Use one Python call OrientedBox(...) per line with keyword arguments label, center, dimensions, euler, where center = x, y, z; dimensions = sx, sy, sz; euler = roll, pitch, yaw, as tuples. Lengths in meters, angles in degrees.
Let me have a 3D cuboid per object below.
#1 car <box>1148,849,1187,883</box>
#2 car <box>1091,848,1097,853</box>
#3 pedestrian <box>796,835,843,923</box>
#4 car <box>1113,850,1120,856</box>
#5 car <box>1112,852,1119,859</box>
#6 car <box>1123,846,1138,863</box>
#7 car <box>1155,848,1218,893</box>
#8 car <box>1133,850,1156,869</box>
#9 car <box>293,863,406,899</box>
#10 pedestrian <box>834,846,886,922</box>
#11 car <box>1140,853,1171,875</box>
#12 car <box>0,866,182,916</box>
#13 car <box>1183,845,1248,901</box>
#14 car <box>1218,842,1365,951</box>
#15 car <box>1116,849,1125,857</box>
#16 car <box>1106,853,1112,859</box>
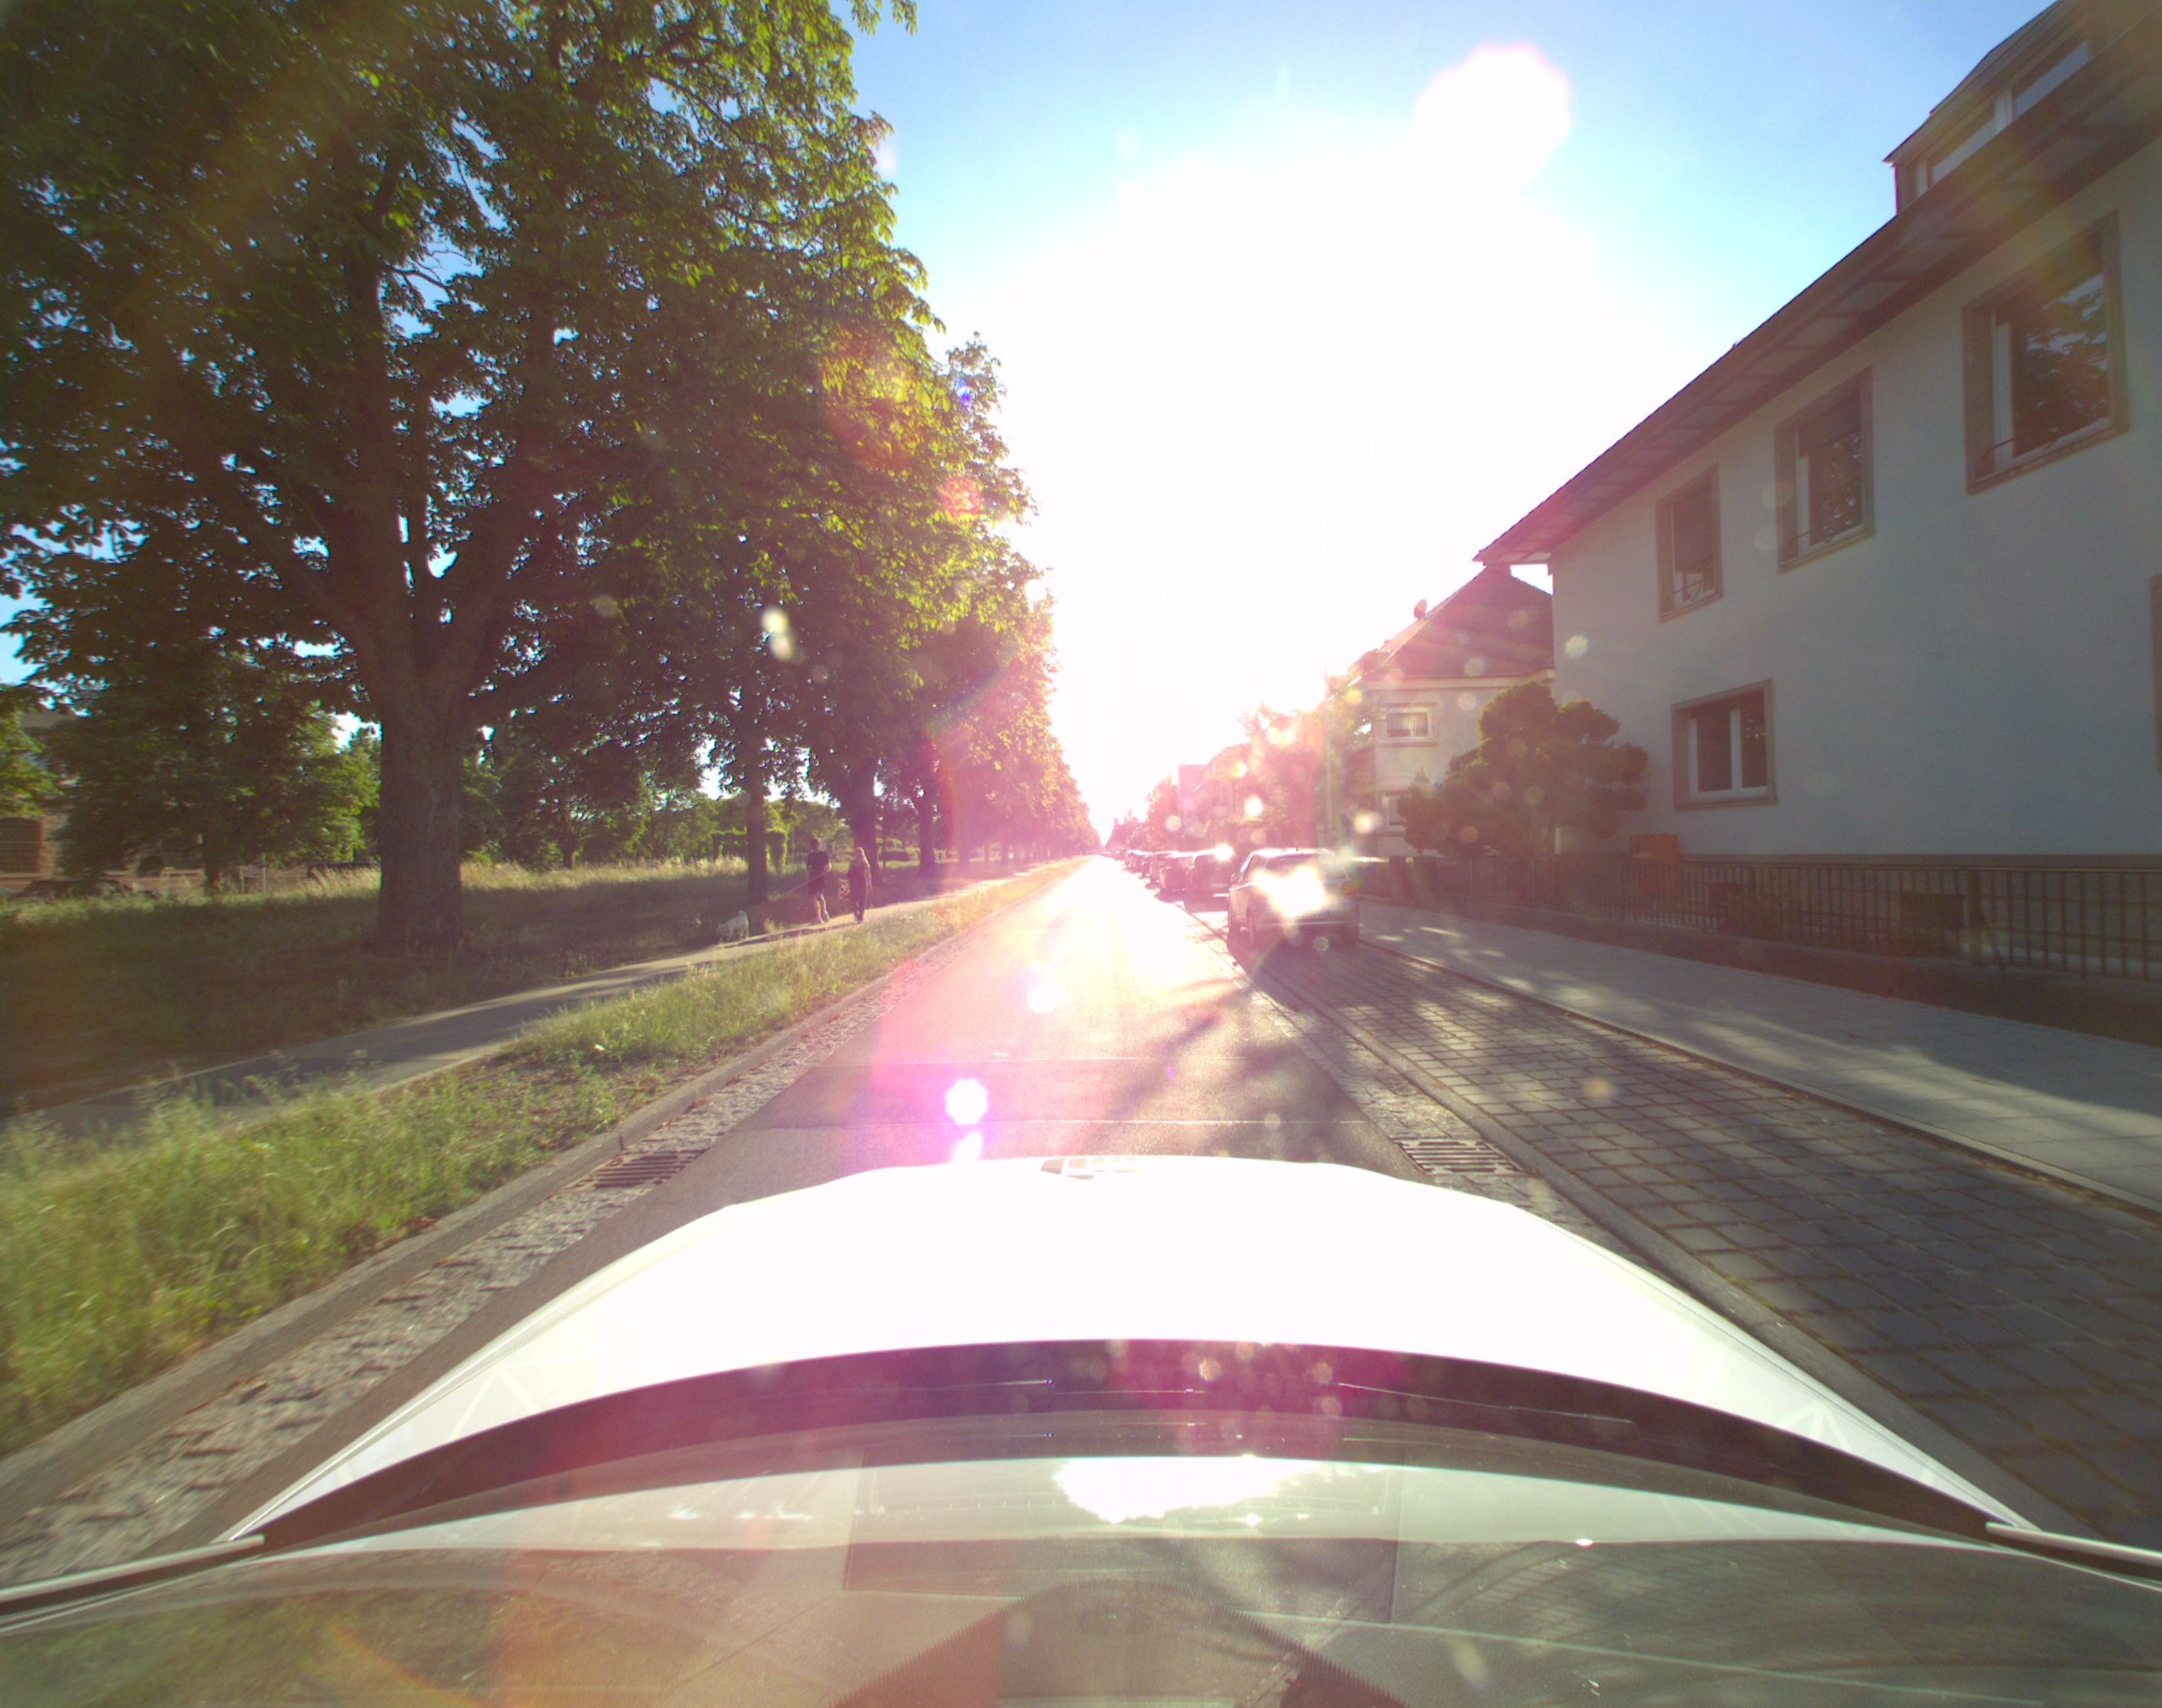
OrientedBox(label="car", center=(4.136, 0.567, 39.468), dimensions=(1.586, 1.510, 3.593), euler=(-2, 0, 2))
OrientedBox(label="car", center=(3.992, -1.195, 253.734), dimensions=(1.646, 1.541, 3.268), euler=(0, 0, 2))
OrientedBox(label="pedestrian", center=(-5.621, 0.518, 17.545), dimensions=(0.621, 1.831, 0.887), euler=(-1, 0, 5))
OrientedBox(label="car", center=(8.265, -0.252, 187.929), dimensions=(1.645, 1.541, 3.269), euler=(-1, 0, 3))
OrientedBox(label="car", center=(7.794, 0.236, 182.516), dimensions=(1.645, 1.541, 3.269), euler=(-1, 0, 3))
OrientedBox(label="car", center=(4.948, 0.056, 81.867), dimensions=(1.492, 1.567, 3.269), euler=(-2, 0, 3))
OrientedBox(label="car", center=(3.823, 0.596, 30.100), dimensions=(1.731, 1.449, 4.197), euler=(-3, 0, 0))
OrientedBox(label="car", center=(4.906, 0.437, 63.118), dimensions=(1.645, 1.396, 3.269), euler=(-2, 0, 3))
OrientedBox(label="car", center=(-36.135, 1.279, 40.399), dimensions=(1.686, 1.597, 4.222), euler=(-1, 0, 1))
OrientedBox(label="pedestrian", center=(-4.829, 0.632, 17.873), dimensions=(0.779, 1.614, 0.953), euler=(-1, 0, 5))
OrientedBox(label="car", center=(4.479, 0.583, 49.345), dimensions=(1.686, 1.248, 3.500), euler=(-2, 0, 3))
OrientedBox(label="car", center=(-36.579, 1.299, 30.213), dimensions=(1.686, 1.597, 4.222), euler=(-1, 0, 1))
OrientedBox(label="car", center=(4.033, 0.541, 24.867), dimensions=(1.650, 1.494, 3.721), euler=(-3, 0, 5))
OrientedBox(label="car", center=(3.399, 0.607, 13.783), dimensions=(1.621, 1.504, 3.635), euler=(-3, 1, 2))
OrientedBox(label="car", center=(6.987, -0.176, 143.657), dimensions=(1.645, 1.541, 3.269), euler=(-1, 0, 3))
OrientedBox(label="car", center=(7.649, 0.497, 225.017), dimensions=(1.646, 1.541, 3.268), euler=(0, 0, 2))
